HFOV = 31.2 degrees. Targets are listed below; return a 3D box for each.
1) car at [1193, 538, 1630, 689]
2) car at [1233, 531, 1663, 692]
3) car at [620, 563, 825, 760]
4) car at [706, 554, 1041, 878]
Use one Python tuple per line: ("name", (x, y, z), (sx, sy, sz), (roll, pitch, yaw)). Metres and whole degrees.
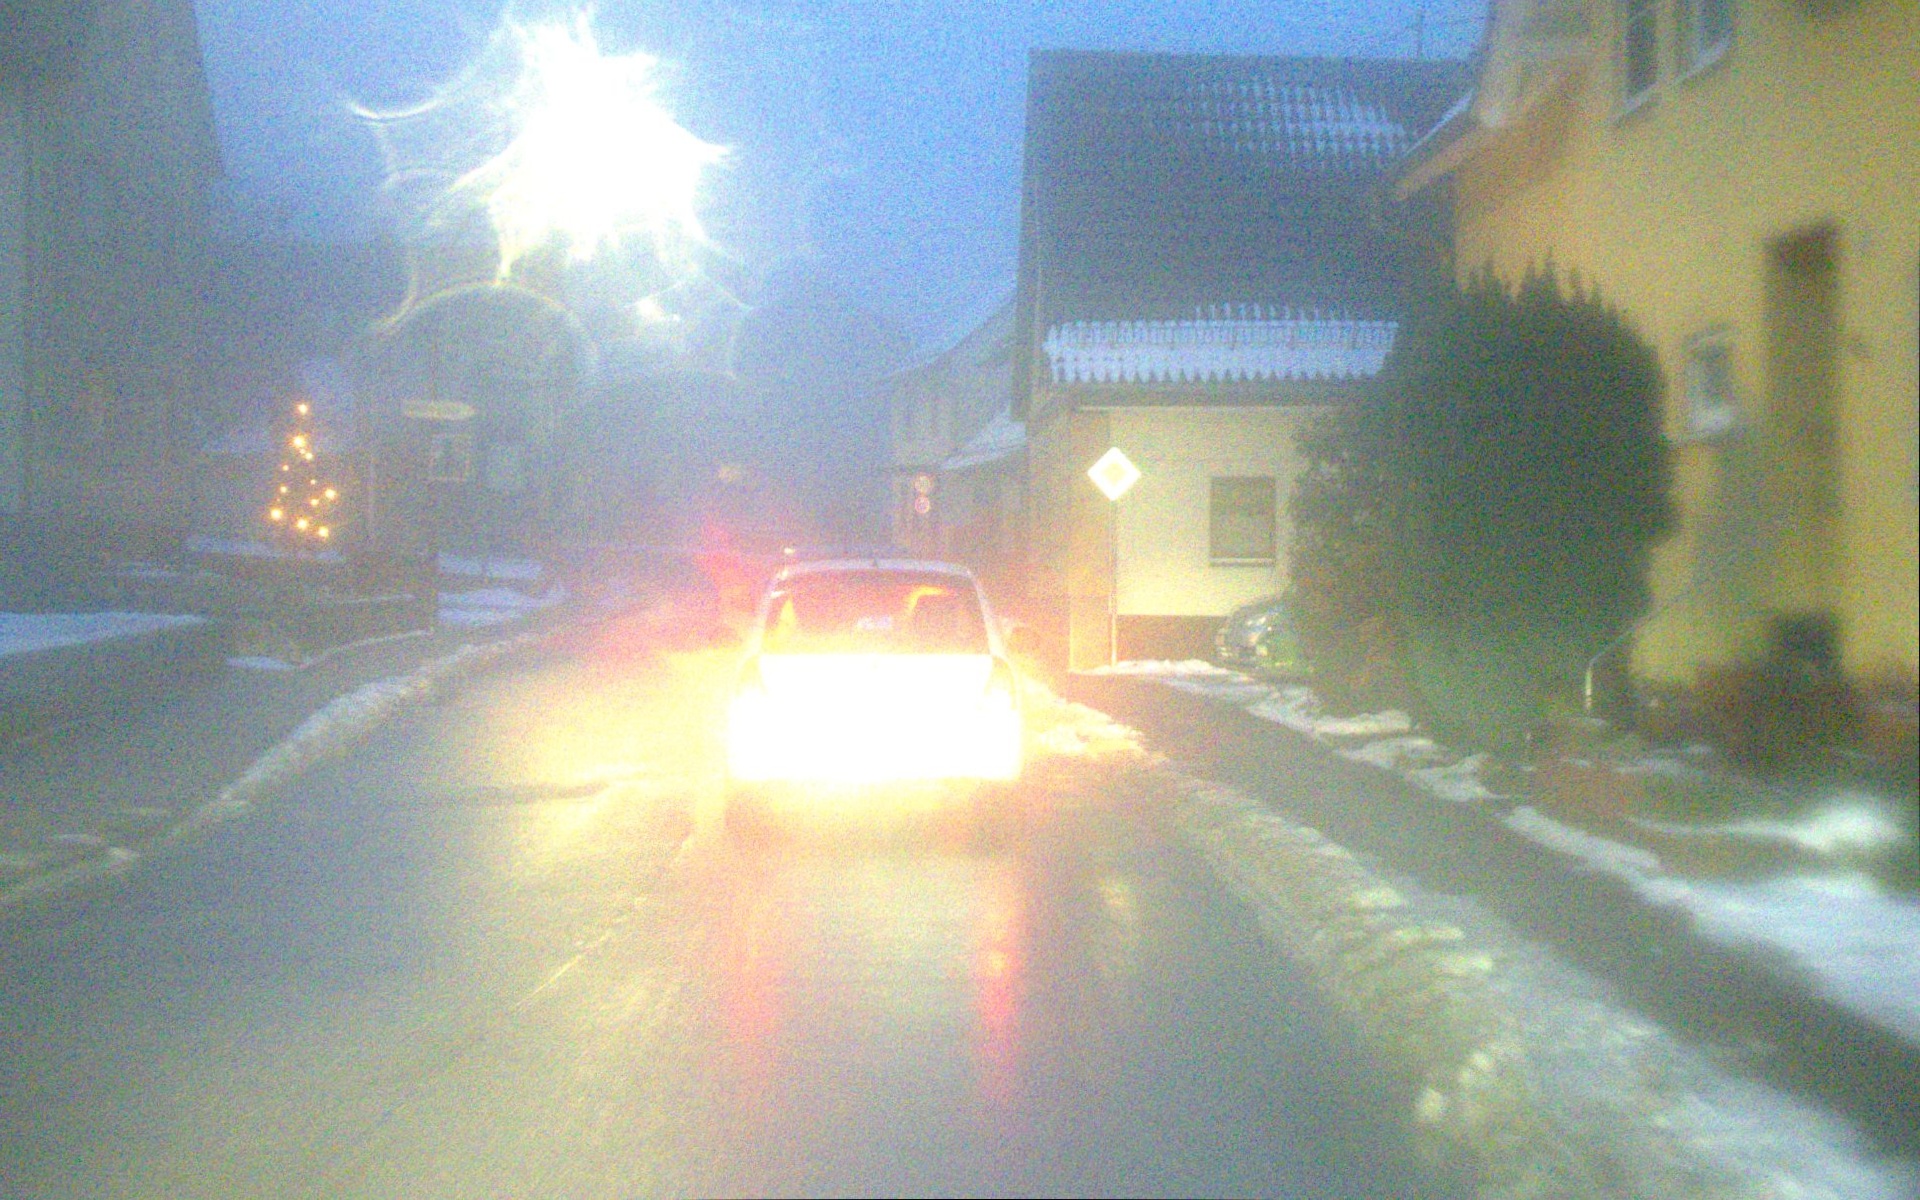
("car", (4.689, 0.124, 36.050), (4.169, 1.428, 1.902), (1, 1, -6))
("car", (4.655, 0.084, 33.077), (3.740, 1.492, 1.822), (0, 1, -7))
("car", (-2.059, 0.513, 30.395), (1.645, 1.590, 3.700), (2, 0, -3))
("car", (-0.475, 0.586, 19.250), (1.645, 1.590, 3.699), (2, 0, -1))
